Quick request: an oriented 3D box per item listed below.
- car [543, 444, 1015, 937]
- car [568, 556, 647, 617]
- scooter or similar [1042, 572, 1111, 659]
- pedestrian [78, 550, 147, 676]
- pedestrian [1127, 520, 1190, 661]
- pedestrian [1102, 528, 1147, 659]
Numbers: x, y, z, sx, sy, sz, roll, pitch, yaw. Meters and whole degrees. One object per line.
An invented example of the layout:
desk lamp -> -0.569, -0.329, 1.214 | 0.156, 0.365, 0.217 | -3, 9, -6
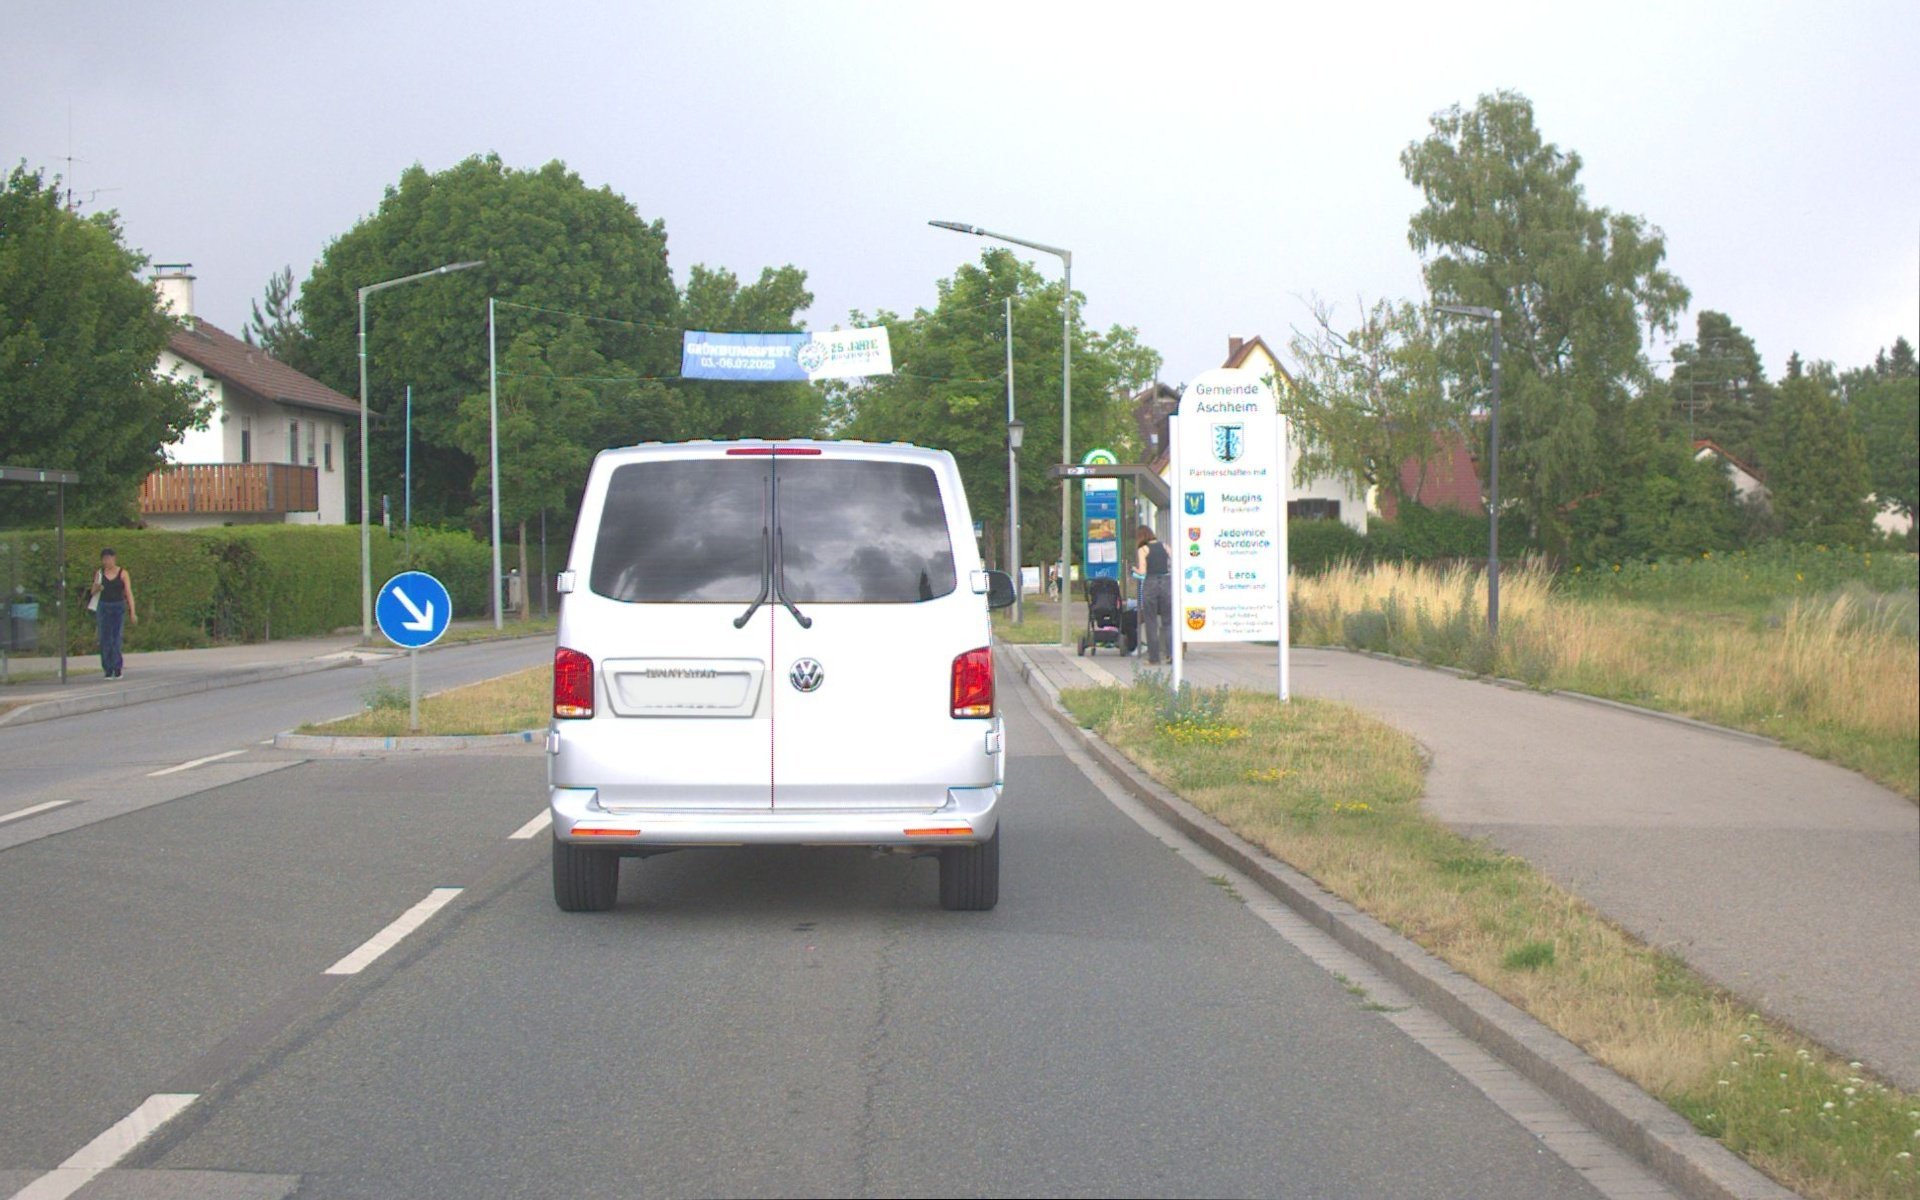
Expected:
car -> -0.785, 0.309, 15.341 | 1.825, 1.907, 4.001 | 0, 1, -2
car -> -8.933, -0.356, 87.369 | 1.653, 1.424, 3.603 | -3, 1, -1
scooter or similar -> 1.566, 0.200, 46.356 | 0.848, 1.100, 1.094 | -3, 1, 0
pedestrian -> -10.498, 0.153, 42.581 | 0.623, 1.519, 0.680 | -3, 1, -1
pedestrian -> 2.460, -0.120, 42.630 | 0.485, 1.726, 0.642 | -3, 1, -20
pedestrian -> 2.212, -0.093, 46.296 | 0.485, 1.726, 0.642 | -3, 1, -1
